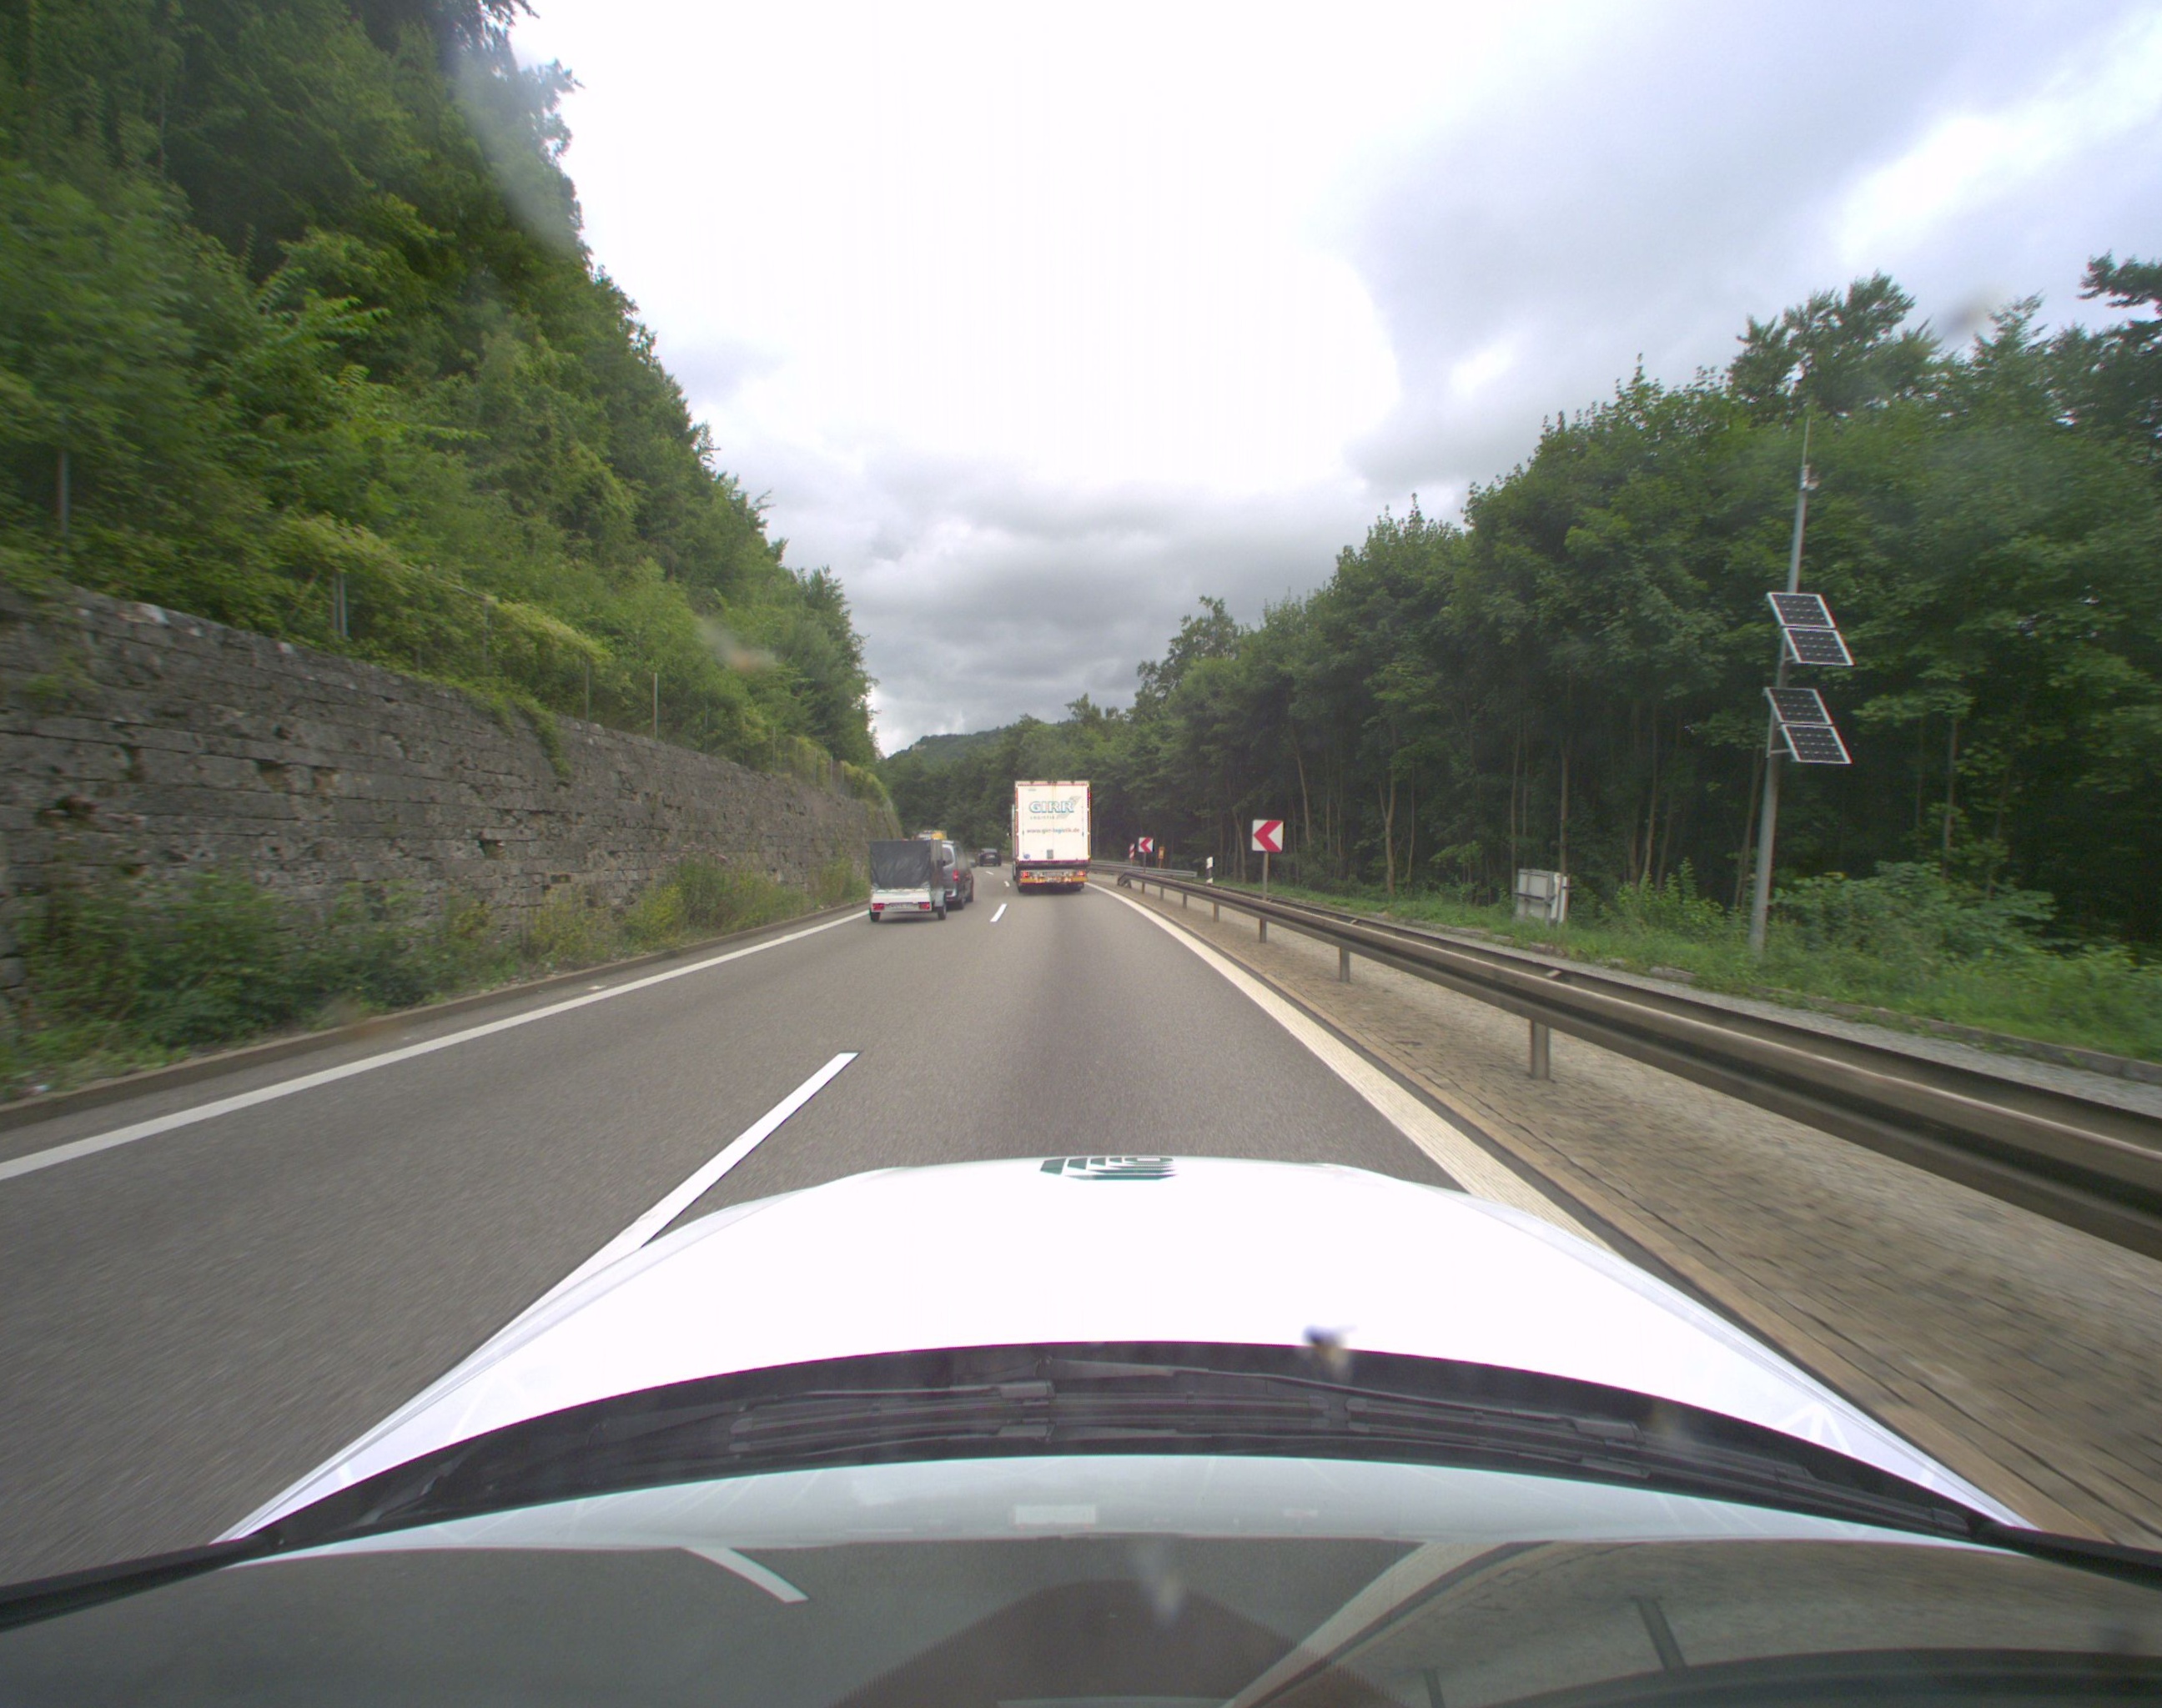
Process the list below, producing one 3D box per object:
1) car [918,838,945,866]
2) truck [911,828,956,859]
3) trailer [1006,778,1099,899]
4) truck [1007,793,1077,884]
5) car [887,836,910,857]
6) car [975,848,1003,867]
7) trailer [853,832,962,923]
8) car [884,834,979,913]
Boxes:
[{"bbox_3d":[-15.334,-0.230,83.058,1.993,2.672,6.898,1,0,-16],"label":"car"},{"bbox_3d":[-20.220,-1.401,110.696,3.071,3.986,13.594,-2,1,-23],"label":"truck"},{"bbox_3d":[-1.478,-0.692,33.574,3.053,3.985,12.117,2,2,-5],"label":"trailer"},{"bbox_3d":[-2.041,-0.782,39.966,3.053,3.985,7.175,2,2,-5],"label":"truck"},{"bbox_3d":[-23.998,-0.952,106.775,1.947,2.672,5.947,1,0,-22],"label":"car"},{"bbox_3d":[-8.274,0.306,73.299,1.996,1.662,3.981,1,0,-14],"label":"car"},{"bbox_3d":[-4.034,0.501,19.474,1.966,1.939,3.427,-1,0,-3],"label":"trailer"},{"bbox_3d":[-4.231,0.492,23.937,1.989,2.013,5.534,-1,0,-3],"label":"car"}]
